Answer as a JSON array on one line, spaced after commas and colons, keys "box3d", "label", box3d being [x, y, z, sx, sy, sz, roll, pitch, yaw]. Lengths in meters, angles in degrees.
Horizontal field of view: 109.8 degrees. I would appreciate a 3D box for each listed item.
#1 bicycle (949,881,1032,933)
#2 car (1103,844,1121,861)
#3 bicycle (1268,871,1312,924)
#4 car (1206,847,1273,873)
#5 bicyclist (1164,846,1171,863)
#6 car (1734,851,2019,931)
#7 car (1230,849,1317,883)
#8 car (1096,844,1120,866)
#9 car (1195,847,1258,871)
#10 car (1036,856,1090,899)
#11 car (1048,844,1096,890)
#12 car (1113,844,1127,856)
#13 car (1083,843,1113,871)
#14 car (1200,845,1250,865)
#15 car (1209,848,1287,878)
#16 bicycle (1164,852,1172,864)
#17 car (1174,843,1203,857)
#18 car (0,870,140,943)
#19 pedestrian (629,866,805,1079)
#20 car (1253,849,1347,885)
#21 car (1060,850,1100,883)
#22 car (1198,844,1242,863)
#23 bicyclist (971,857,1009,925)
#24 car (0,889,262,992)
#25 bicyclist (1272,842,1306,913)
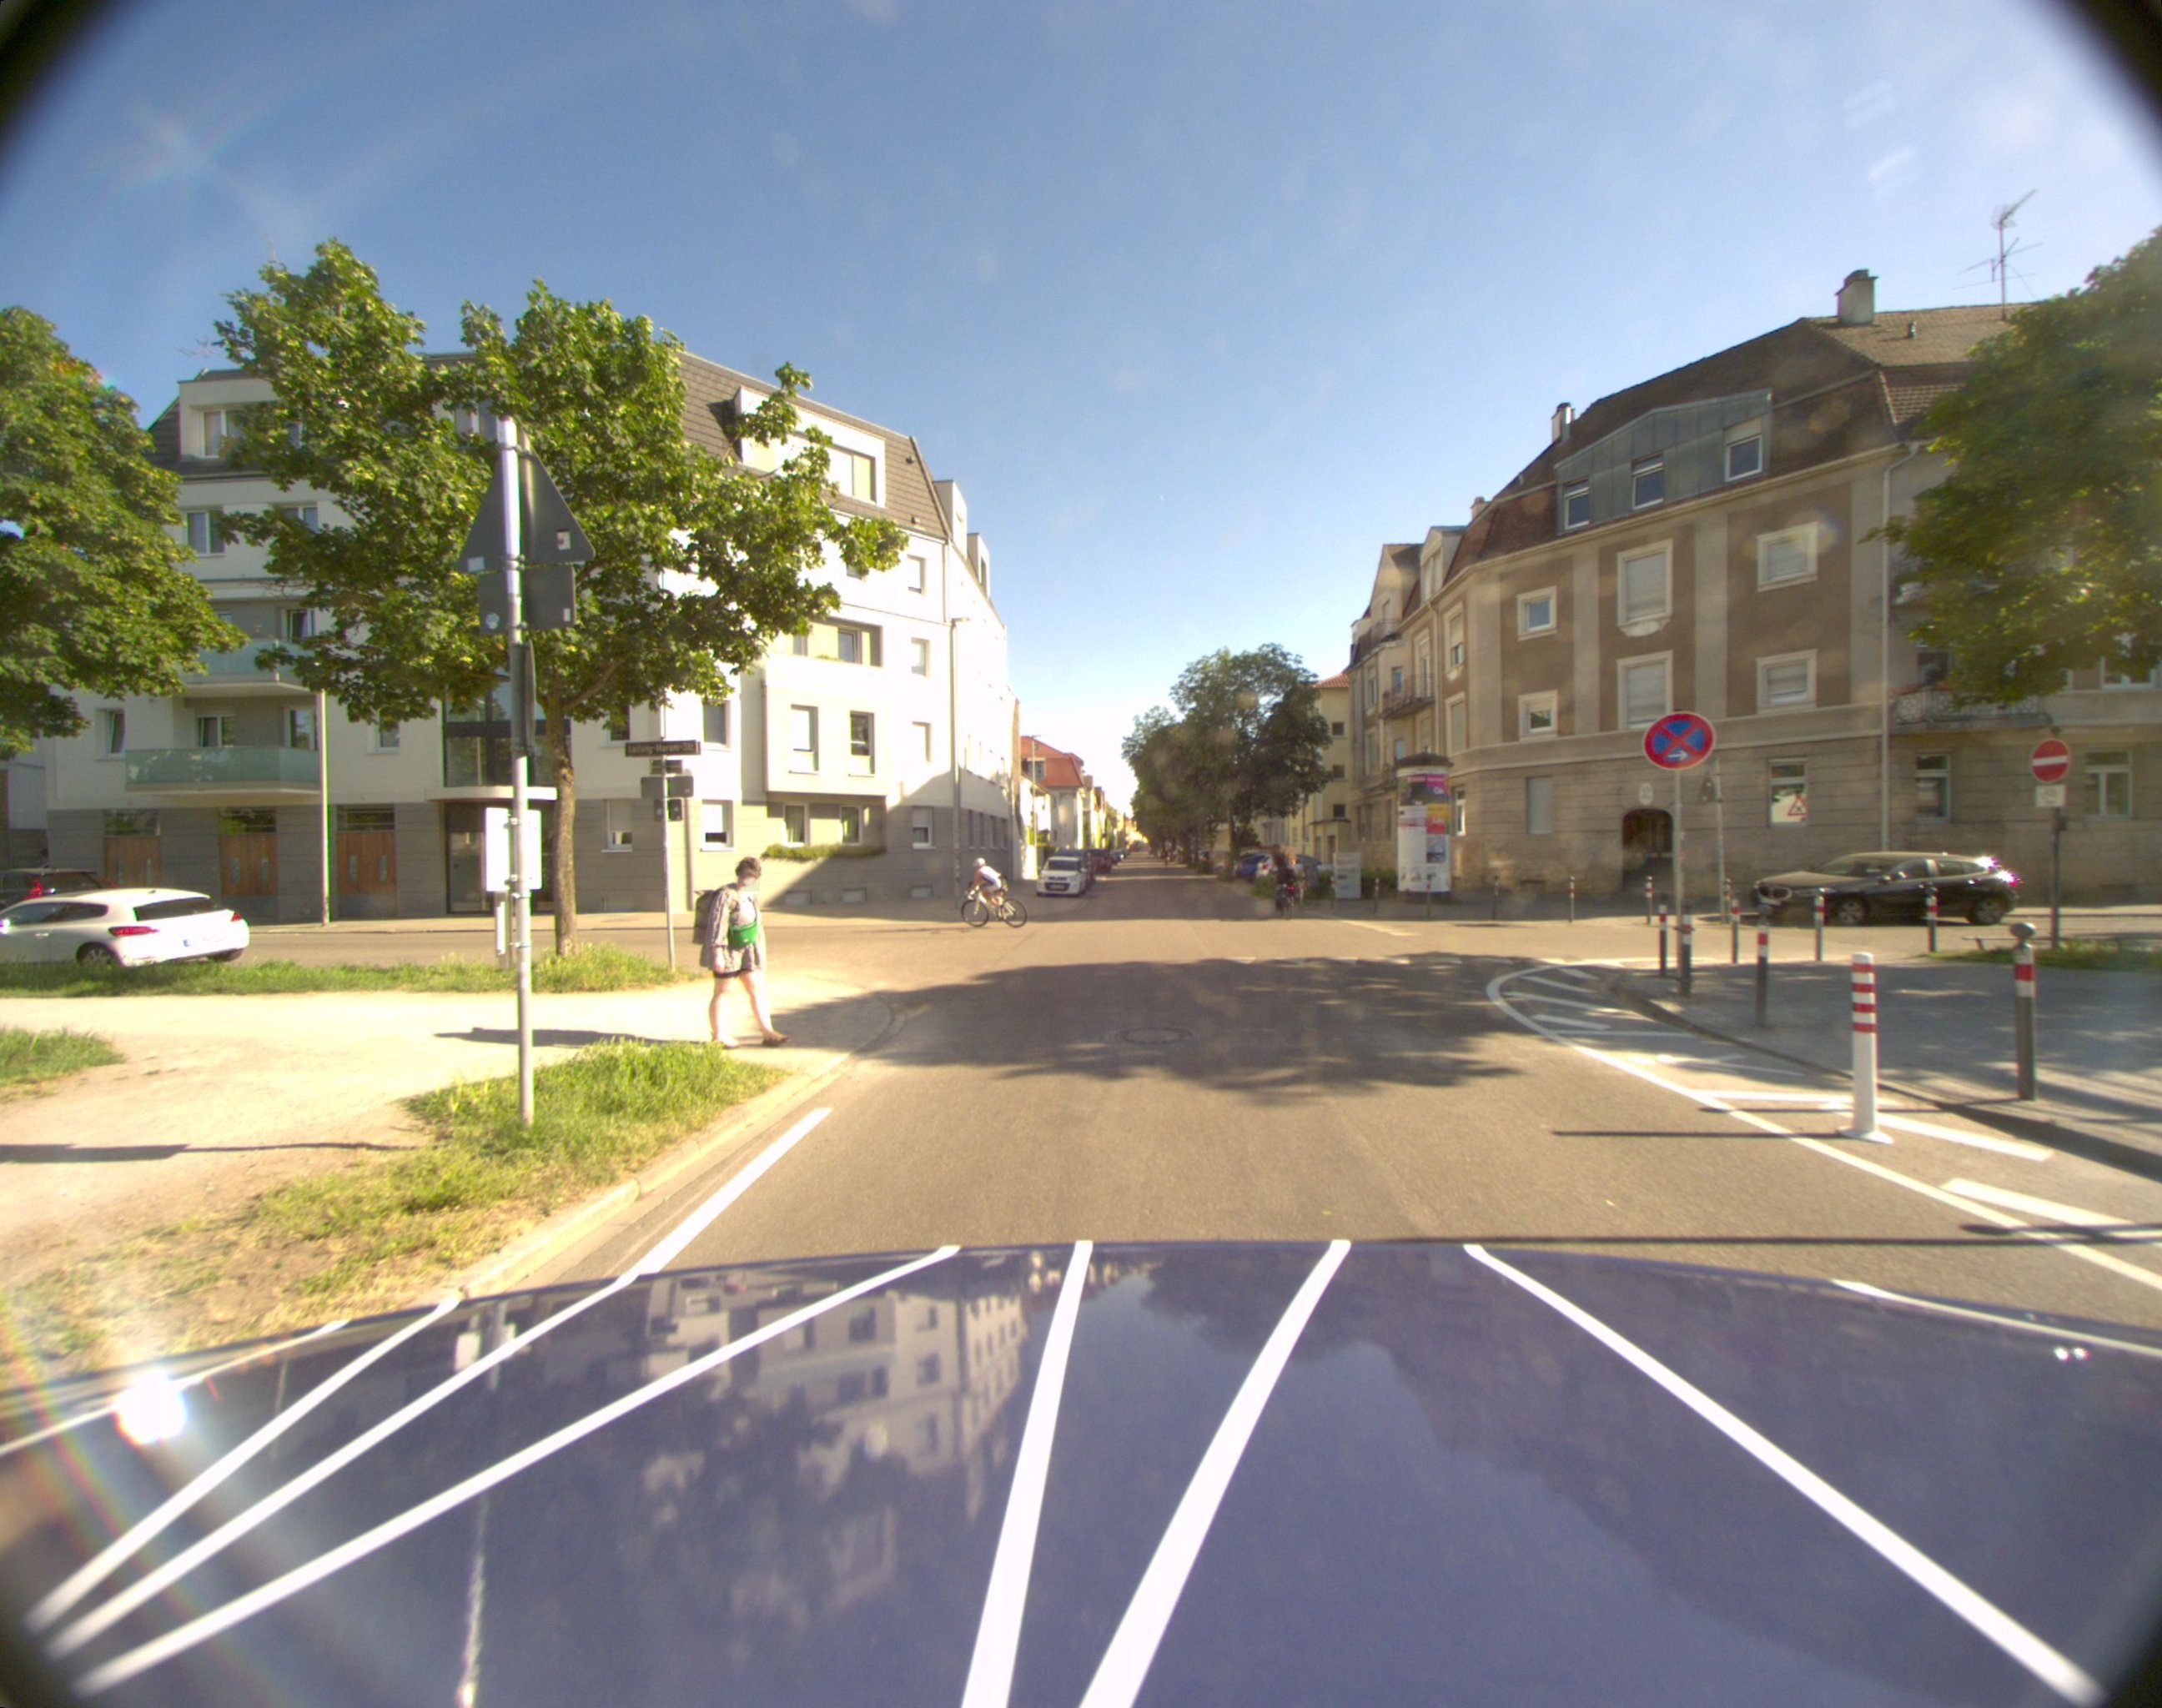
[{"box3d": [-1.950, 1.144, 16.476, 1.707, 1.083, 0.507, -1, 1, 4], "label": "bicycle"}, {"box3d": [3.487, -0.166, 84.858, 1.883, 1.860, 4.403, -1, 0, 5], "label": "car"}, {"box3d": [4.795, 0.968, 17.555, 0.644, 1.102, 2.066, -1, 1, 6], "label": "bicycle"}, {"box3d": [9.982, 0.357, 48.002, 3.791, 1.486, 1.691, -2, 1, -9], "label": "car"}, {"box3d": [8.288, 0.056, 72.504, 0.644, 1.557, 1.043, -1, 1, 5], "label": "bicyclist"}, {"box3d": [16.849, 0.740, 16.281, 4.011, 1.476, 1.867, -1, 4, 1], "label": "car"}, {"box3d": [9.246, 0.551, 36.749, 3.788, 1.486, 1.692, -2, 1, 2], "label": "car"}, {"box3d": [2.482, 0.100, 69.629, 1.883, 1.860, 4.403, 2, 1, 5], "label": "car"}, {"box3d": [9.770, 0.303, 51.149, 3.791, 1.486, 1.691, -2, 1, -9], "label": "car"}, {"box3d": [-0.616, 0.838, 29.248, 1.664, 1.440, 3.689, 2, 1, 4], "label": "car"}, {"box3d": [-0.339, 0.528, 33.702, 1.664, 1.825, 4.258, 2, 1, 5], "label": "car"}, {"box3d": [5.717, -0.528, 111.299, 1.883, 1.734, 4.403, -1, 0, 5], "label": "car"}, {"box3d": [1.281, 0.181, 55.439, 1.883, 1.860, 4.403, 2, 1, 5], "label": "car"}, {"box3d": [11.861, 0.052, 62.624, 3.788, 1.486, 1.692, -2, 1, -1], "label": "car"}, {"box3d": [9.159, 0.491, 41.846, 3.791, 1.486, 1.691, -2, 1, -9], "label": "car"}, {"box3d": [8.277, 0.369, 72.408, 0.644, 1.102, 2.066, -1, 1, 6], "label": "bicycle"}, {"box3d": [14.066, -0.466, 99.312, 3.527, 1.693, 1.692, -2, 1, 3], "label": "car"}, {"box3d": [-27.508, 1.319, 19.629, 4.283, 1.673, 1.896, -1, 2, 5], "label": "car"}, {"box3d": [-3.069, 0.975, 6.544, 1.091, 1.664, 0.912, 4, 0, -13], "label": "pedestrian"}, {"box3d": [9.888, 0.574, 34.513, 3.788, 1.436, 1.692, -2, 1, 2], "label": "car"}, {"box3d": [0.015, 0.579, 39.097, 1.664, 1.533, 4.067, 2, 1, 5], "label": "car"}, {"box3d": [12.213, -0.059, 67.106, 3.528, 1.486, 1.692, -2, 1, -1], "label": "car"}, {"box3d": [-1.975, 0.796, 16.475, 0.686, 1.456, 0.498, -1, 1, 10], "label": "bicyclist"}, {"box3d": [-16.883, 1.432, 12.962, 3.990, 1.426, 1.739, -1, 5, 5], "label": "car"}, {"box3d": [4.788, 0.536, 17.551, 0.644, 1.610, 0.637, -1, 1, 5], "label": "bicyclist"}]
